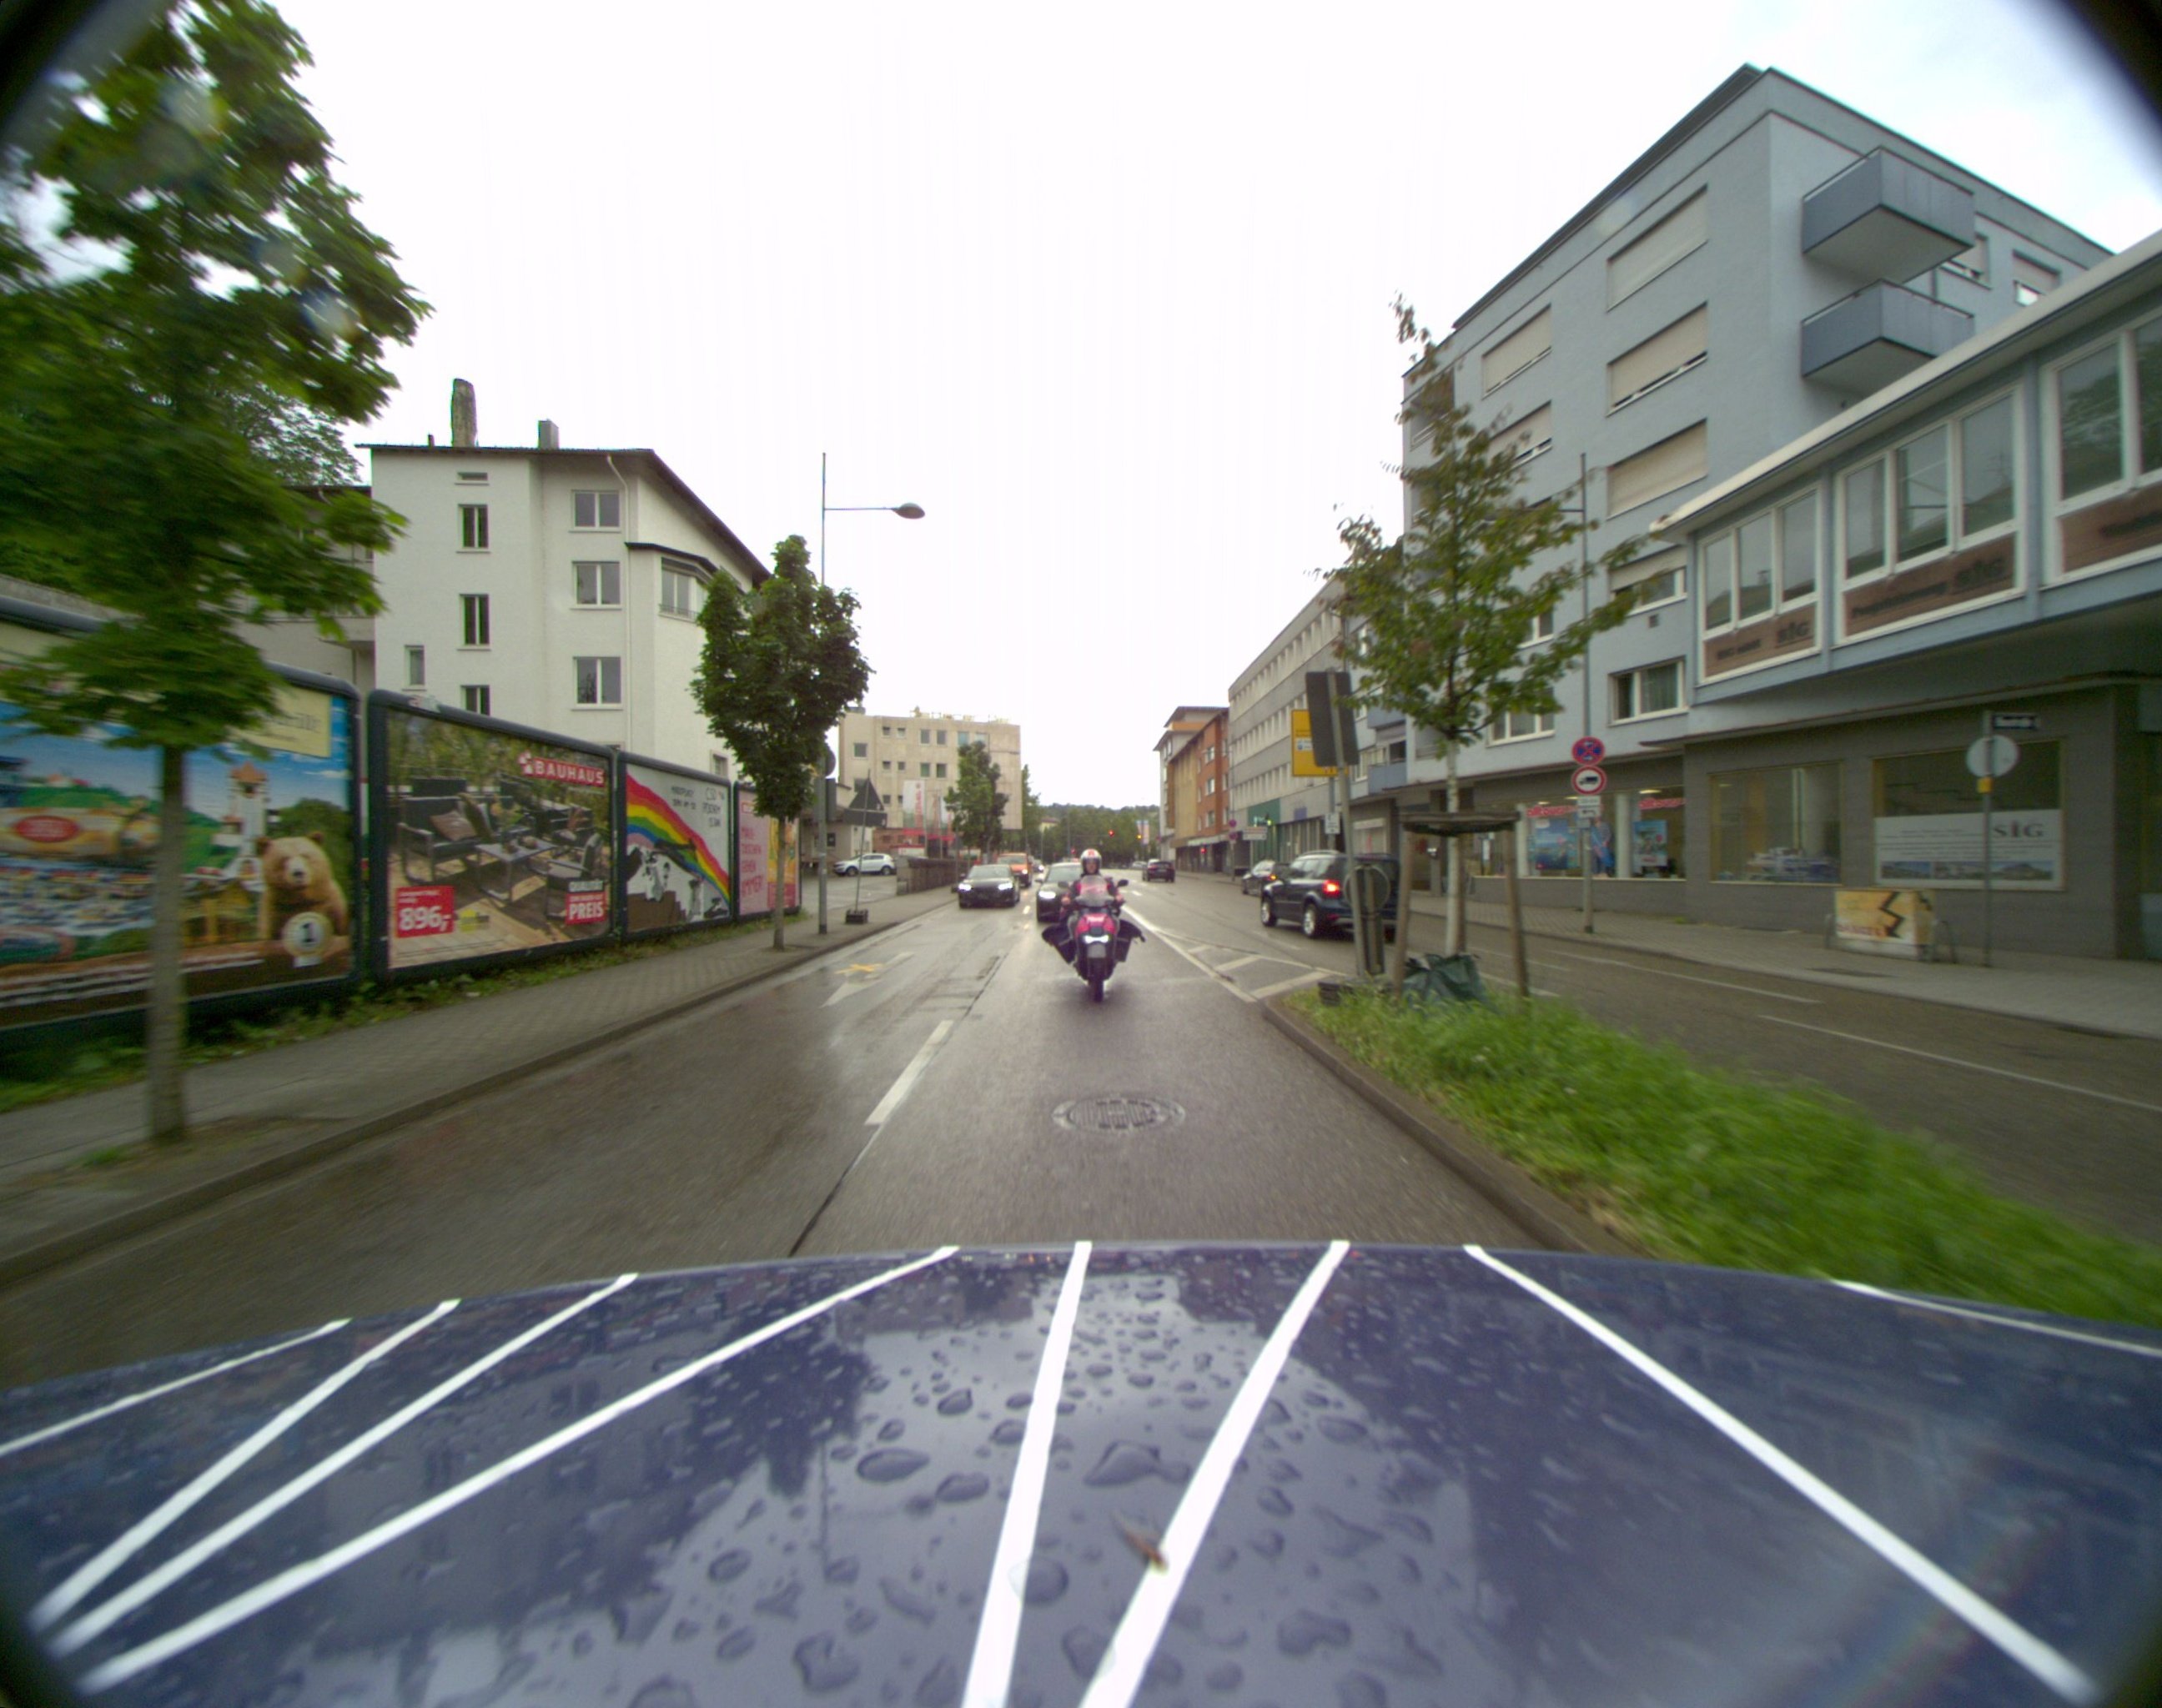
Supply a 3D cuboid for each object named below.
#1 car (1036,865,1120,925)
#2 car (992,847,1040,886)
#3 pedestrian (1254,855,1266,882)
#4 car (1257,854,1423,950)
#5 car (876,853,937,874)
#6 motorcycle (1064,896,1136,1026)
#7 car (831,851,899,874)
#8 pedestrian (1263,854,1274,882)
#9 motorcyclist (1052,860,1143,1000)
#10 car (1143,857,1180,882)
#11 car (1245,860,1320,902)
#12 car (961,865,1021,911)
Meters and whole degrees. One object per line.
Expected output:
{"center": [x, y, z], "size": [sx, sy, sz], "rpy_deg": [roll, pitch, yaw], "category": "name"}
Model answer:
{"center": [-0.058, 1.040, 21.266], "size": [2.040, 1.379, 5.294], "rpy_deg": [-1, 0, 0], "category": "car"}
{"center": [-3.700, 0.670, 44.311], "size": [2.198, 2.074, 5.932], "rpy_deg": [-1, 1, 1], "category": "car"}
{"center": [11.086, 0.898, 47.111], "size": [0.527, 1.678, 0.531], "rpy_deg": [1, 2, 0], "category": "pedestrian"}
{"center": [4.987, 0.860, 15.242], "size": [1.777, 1.634, 3.839], "rpy_deg": [2, 0, -4], "category": "car"}
{"center": [-13.601, 0.760, 59.245], "size": [4.253, 1.565, 1.941], "rpy_deg": [1, -3, -37], "category": "car"}
{"center": [0.165, 1.116, 8.606], "size": [0.589, 1.184, 2.101], "rpy_deg": [-1, 0, -4], "category": "motorcycle"}
{"center": [-15.364, 0.621, 54.269], "size": [4.254, 1.565, 1.941], "rpy_deg": [1, -3, -43], "category": "car"}
{"center": [11.640, 0.871, 47.120], "size": [0.513, 1.678, 0.531], "rpy_deg": [1, 2, 0], "category": "pedestrian"}
{"center": [0.167, 0.819, 8.579], "size": [0.917, 1.484, 0.864], "rpy_deg": [-1, 0, -4], "category": "motorcyclist"}
{"center": [5.273, 0.979, 50.271], "size": [1.909, 1.471, 3.999], "rpy_deg": [2, 1, -1], "category": "car"}
{"center": [8.133, 1.029, 31.076], "size": [1.852, 1.473, 4.201], "rpy_deg": [2, 1, -1], "category": "car"}
{"center": [-3.053, 1.118, 26.583], "size": [1.812, 1.331, 4.276], "rpy_deg": [-2, 0, -4], "category": "car"}
